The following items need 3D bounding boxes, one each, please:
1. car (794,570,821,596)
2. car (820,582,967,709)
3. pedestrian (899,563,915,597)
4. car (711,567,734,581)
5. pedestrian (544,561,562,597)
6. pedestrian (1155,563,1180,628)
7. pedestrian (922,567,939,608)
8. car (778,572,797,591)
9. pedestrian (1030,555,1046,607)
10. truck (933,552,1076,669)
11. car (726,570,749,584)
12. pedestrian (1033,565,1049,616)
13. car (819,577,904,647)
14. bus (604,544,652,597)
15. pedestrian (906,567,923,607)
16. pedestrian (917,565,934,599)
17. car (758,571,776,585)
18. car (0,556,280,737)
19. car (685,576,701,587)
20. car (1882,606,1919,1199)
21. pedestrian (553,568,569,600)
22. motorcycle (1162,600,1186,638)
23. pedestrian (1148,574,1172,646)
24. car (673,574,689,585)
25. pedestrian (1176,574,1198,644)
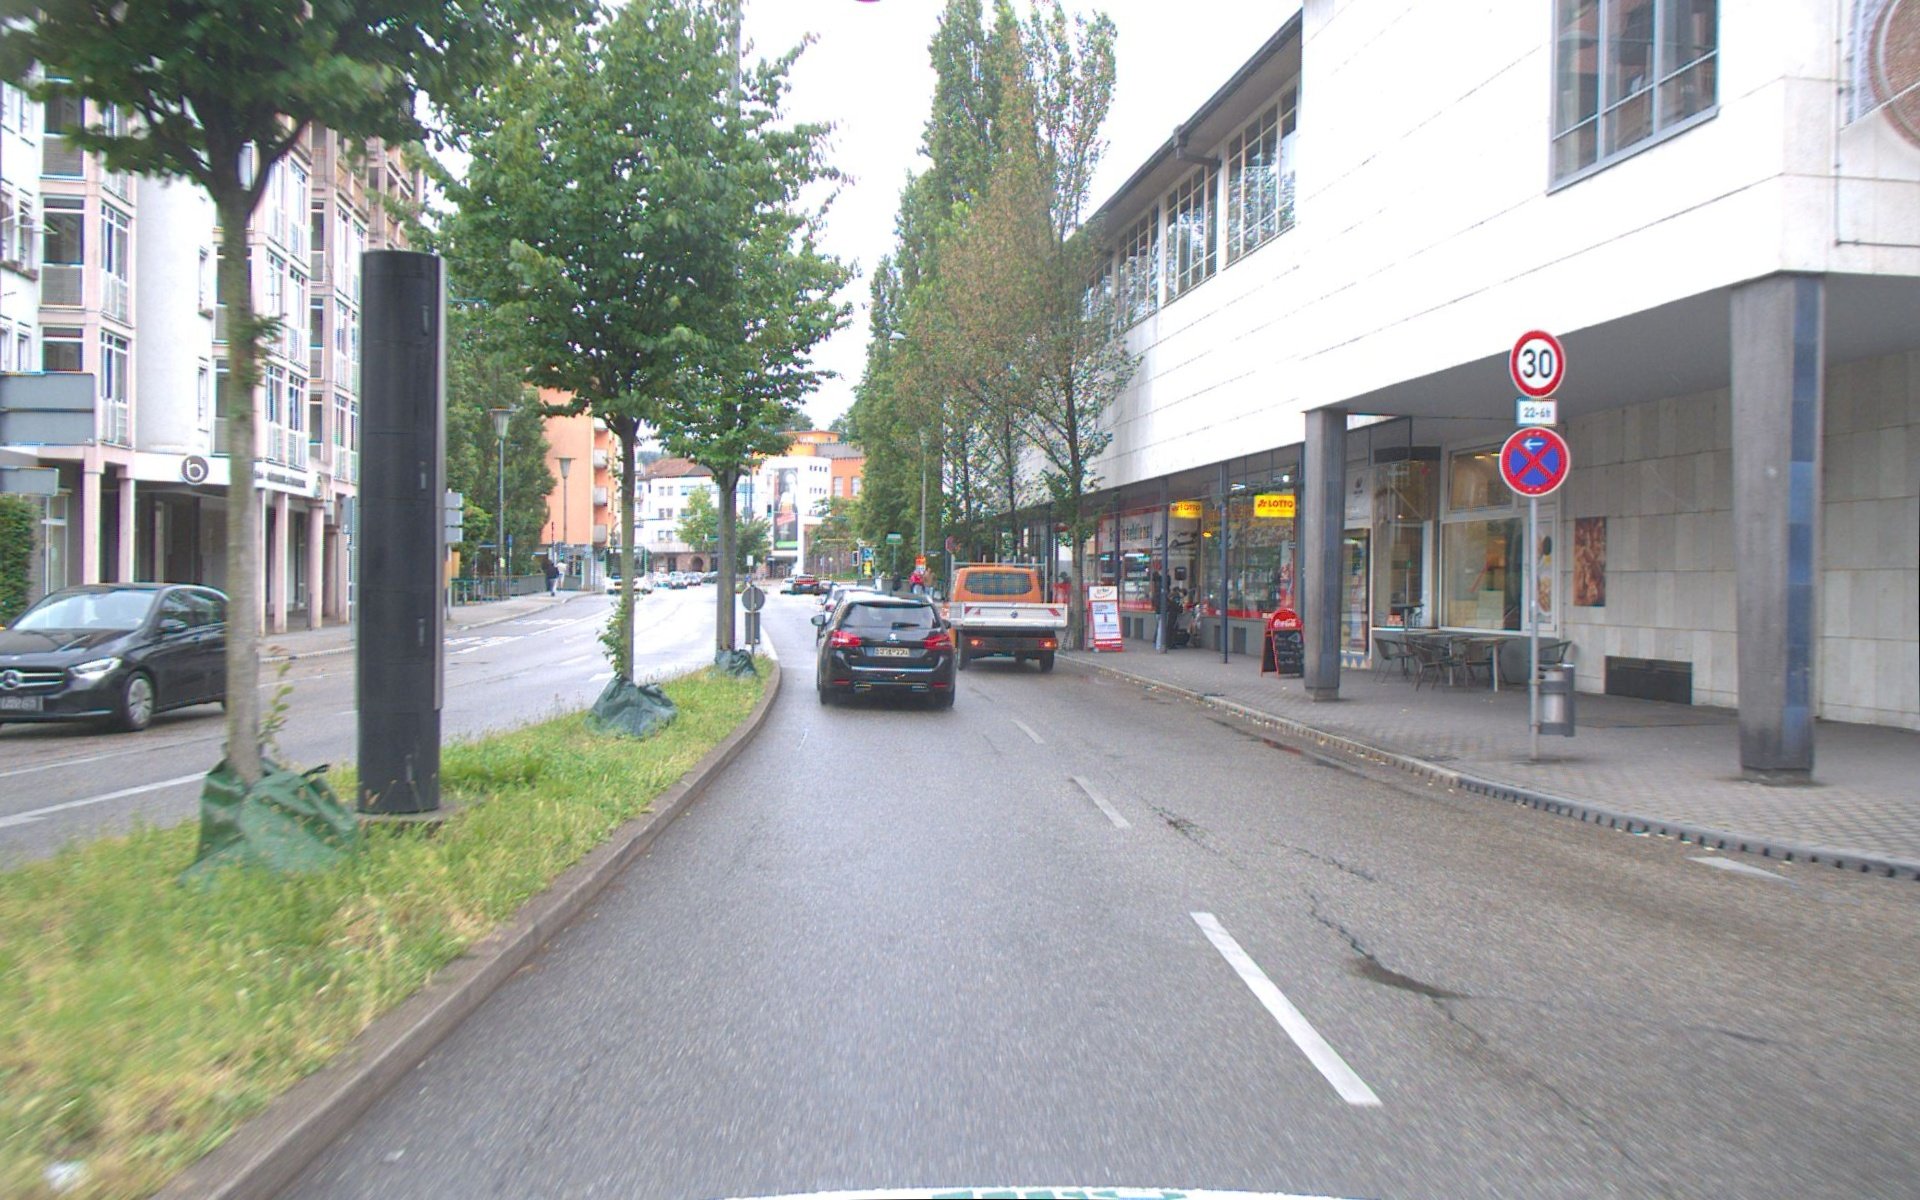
[{"bbox_3d":[-10.503,-1.139,113.877,1.614,1.591,3.593,3,-2,-8],"label":"car"},{"bbox_3d":[-0.938,0.562,22.447,1.759,1.509,3.997,2,0,-4],"label":"car"},{"bbox_3d":[-2.594,-1.002,81.375,0.704,1.648,0.768,-1,1,-8],"label":"pedestrian"},{"bbox_3d":[-30.813,-3.362,214.306,1.629,1.591,3.560,4,-2,-32],"label":"car"},{"bbox_3d":[-21.320,-1.091,86.642,0.684,1.825,0.957,1,0,-5],"label":"pedestrian"},{"bbox_3d":[5.129,-0.108,40.832,0.422,1.593,0.507,1,1,38],"label":"pedestrian"},{"bbox_3d":[-1.325,-0.558,74.325,0.685,1.833,0.605,-1,1,-8],"label":"pedestrian"},{"bbox_3d":[-16.143,-1.729,154.574,1.614,1.591,3.593,3,-2,-8],"label":"car"},{"bbox_3d":[2.661,-0.655,56.749,0.525,1.748,0.534,0,1,0],"label":"pedestrian"},{"bbox_3d":[0.772,0.188,32.330,2.081,2.061,4.708,2,0,-7],"label":"truck"},{"bbox_3d":[-29.328,-3.029,218.088,1.629,1.591,3.560,4,-2,-32],"label":"car"},{"bbox_3d":[2.799,-0.323,57.374,0.525,1.748,0.535,0,1,2],"label":"pedestrian"},{"bbox_3d":[-2.317,0.237,38.110,1.760,1.509,3.995,0,1,-6],"label":"car"},{"bbox_3d":[-21.561,-2.035,107.946,2.694,3.128,12.212,0,2,-10],"label":"bus"},{"bbox_3d":[-2.031,-0.580,74.303,0.641,1.798,0.921,-1,1,-8],"label":"pedestrian"},{"bbox_3d":[-1.684,-0.893,80.961,0.712,1.617,0.605,-1,1,-8],"label":"pedestrian"},{"bbox_3d":[-24.254,-2.756,207.384,1.958,1.713,3.989,0,1,-11],"label":"car"},{"bbox_3d":[-9.420,0.448,18.533,1.790,1.766,4.259,-1,1,0],"label":"car"},{"bbox_3d":[-32.831,-2.281,203.342,1.760,1.348,4.393,0,1,-13],"label":"car"},{"bbox_3d":[3.218,0.811,2.244,1.674,1.482,3.740,2,1,-3],"label":"car"},{"bbox_3d":[-23.169,-0.914,96.063,0.781,1.825,0.811,1,0,-6],"label":"pedestrian"},{"bbox_3d":[4.905,0.431,38.021,0.318,0.818,0.919,0,2,-8],"label":"motorcycle"},{"bbox_3d":[4.494,0.225,37.152,0.421,1.593,0.508,0,1,-10],"label":"pedestrian"},{"bbox_3d":[-32.906,-2.434,195.058,1.758,1.348,4.398,0,1,-8],"label":"car"},{"bbox_3d":[5.199,0.210,37.939,0.380,1.593,0.429,0,1,-10],"label":"pedestrian"}]
